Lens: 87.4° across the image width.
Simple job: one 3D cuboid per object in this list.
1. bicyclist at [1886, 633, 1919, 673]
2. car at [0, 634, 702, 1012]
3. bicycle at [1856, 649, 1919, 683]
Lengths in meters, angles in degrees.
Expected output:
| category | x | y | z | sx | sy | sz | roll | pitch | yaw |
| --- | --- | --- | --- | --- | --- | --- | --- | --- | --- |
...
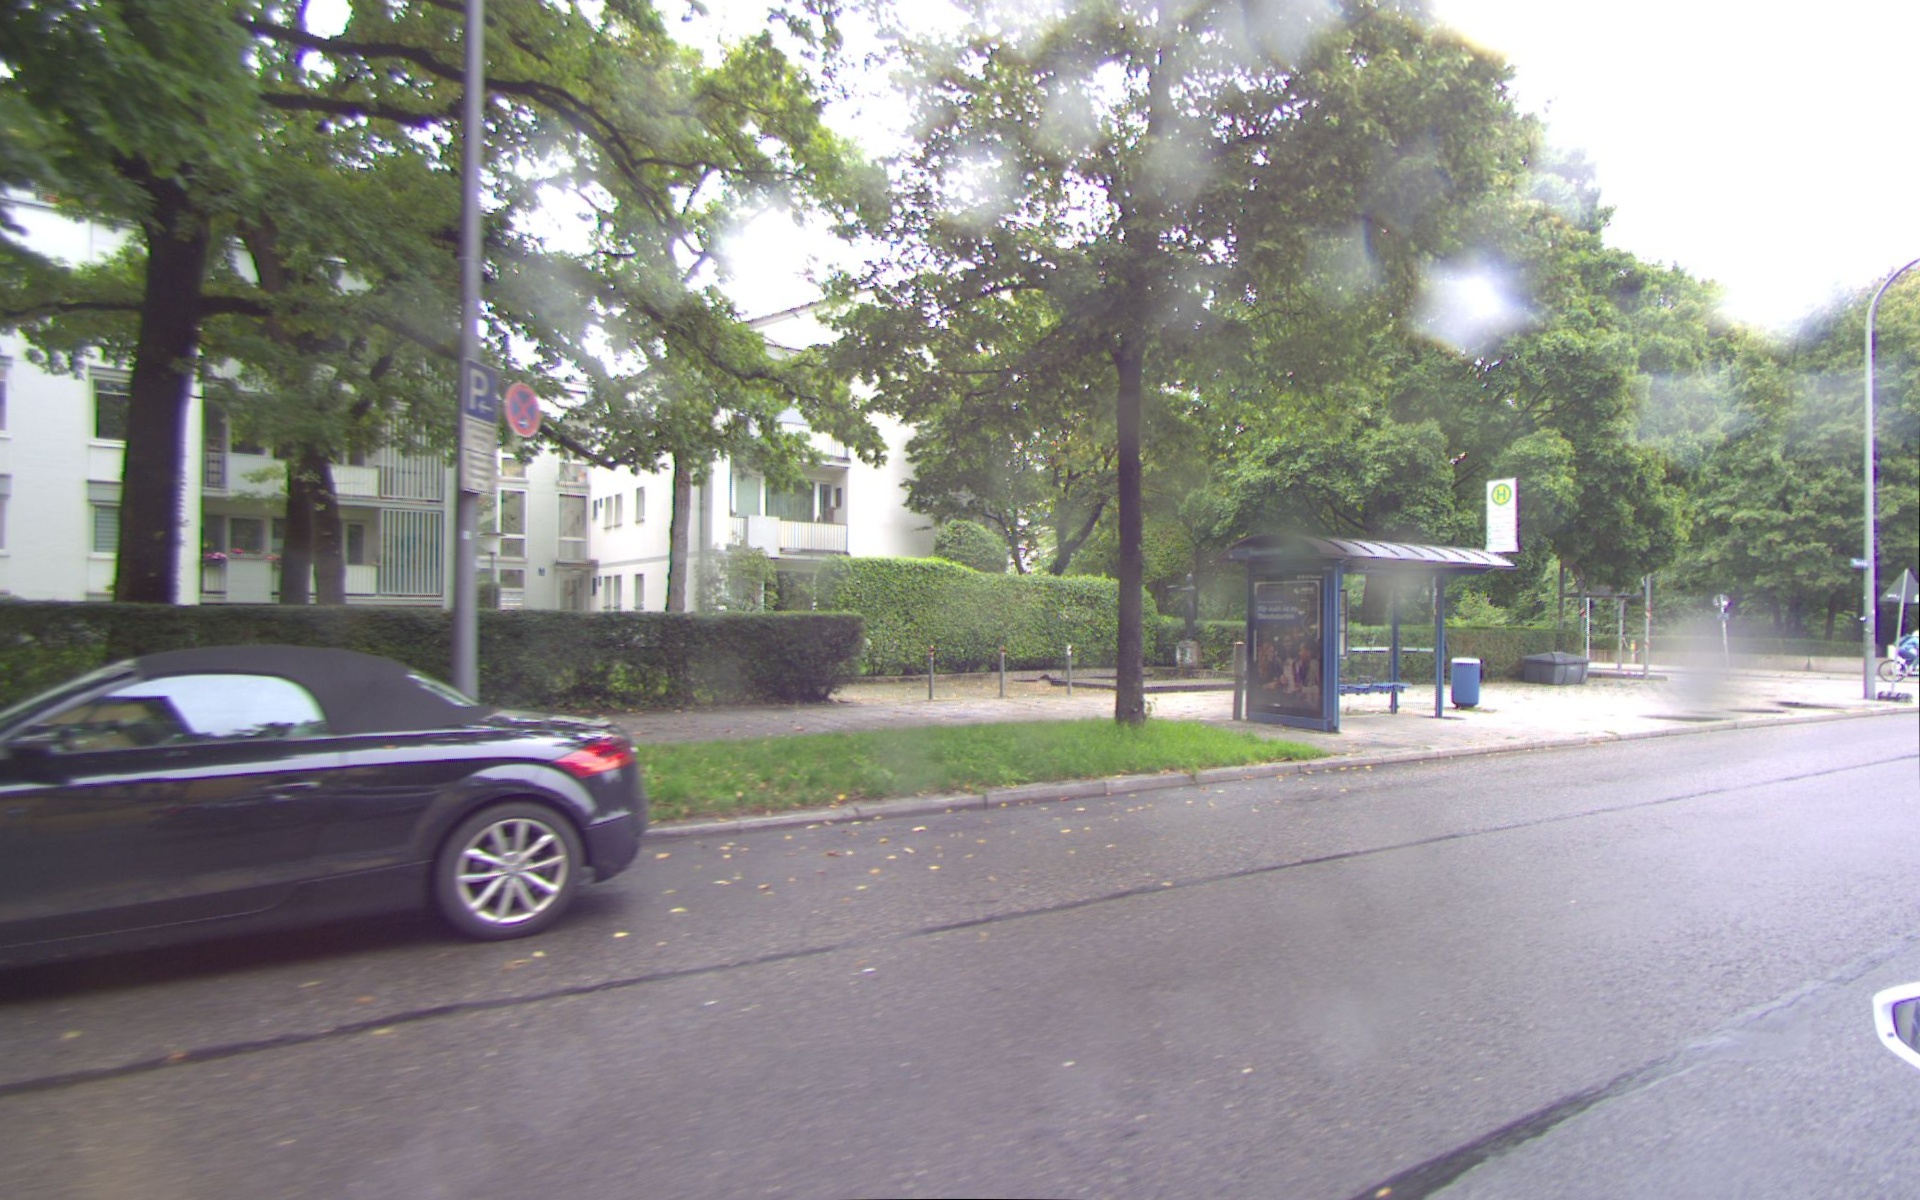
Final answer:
| category | x | y | z | sx | sy | sz | roll | pitch | yaw |
| --- | --- | --- | --- | --- | --- | --- | --- | --- | --- |
| bicyclist | 30.475 | 1.711 | 32.372 | 0.839 | 1.274 | 0.523 | 1 | -2 | 32 |
| car | -3.413 | 0.861 | 4.684 | 3.998 | 1.360 | 1.569 | 2 | -2 | -31 |
| bicycle | 30.400 | 2.135 | 32.447 | 2.073 | 1.004 | 0.680 | 1 | -2 | 32 |
